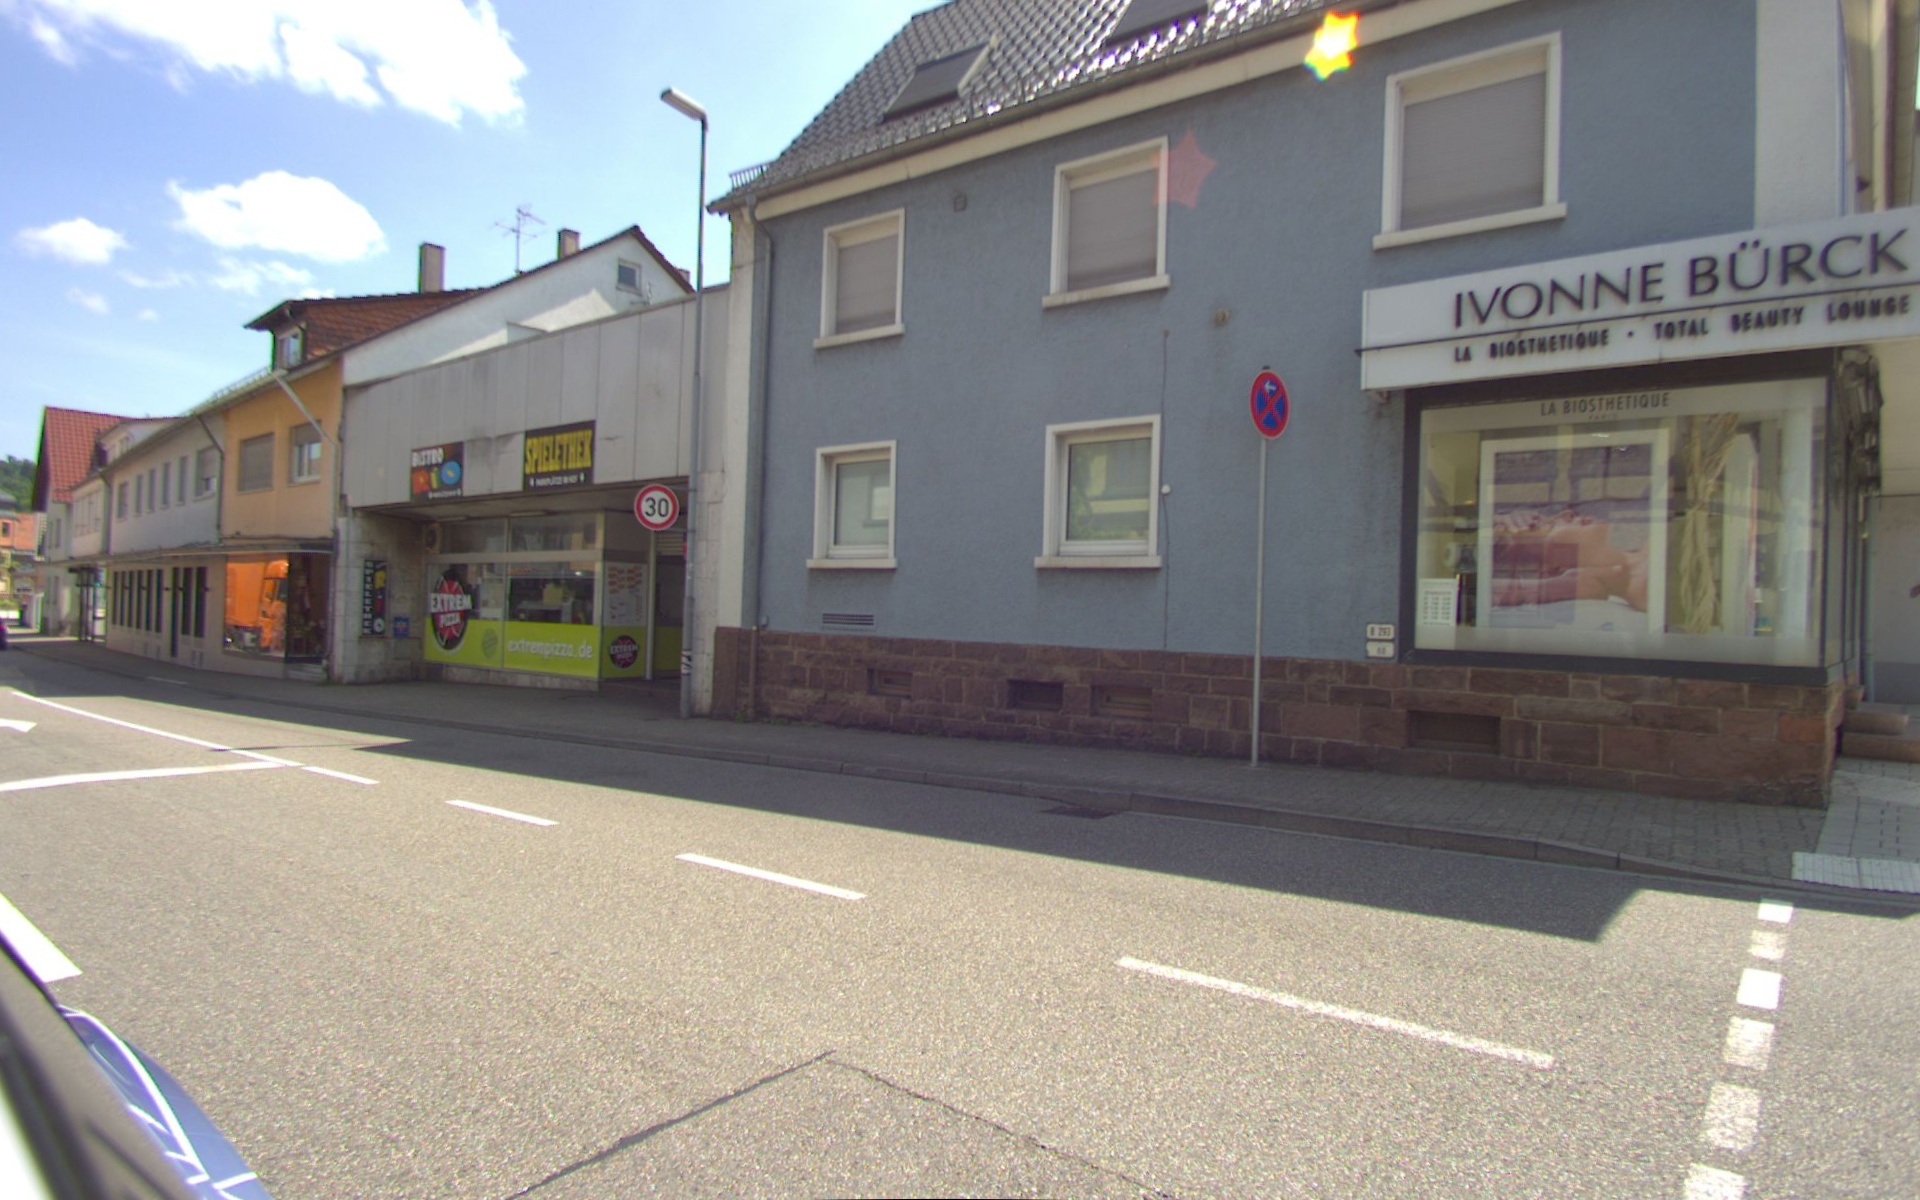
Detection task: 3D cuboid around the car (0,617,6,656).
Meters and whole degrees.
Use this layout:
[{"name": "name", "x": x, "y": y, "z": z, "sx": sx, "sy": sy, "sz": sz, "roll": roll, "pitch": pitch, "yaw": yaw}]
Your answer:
[{"name": "car", "x": -39.541, "y": 1.367, "z": 40.217, "sx": 4.793, "sy": 1.498, "sz": 1.778, "roll": 0, "pitch": -4, "yaw": 40}]

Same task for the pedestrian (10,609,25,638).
[{"name": "pedestrian", "x": -58.084, "y": 1.464, "z": 62.373, "sx": 0.475, "sy": 1.777, "sz": 0.468, "roll": 1, "pitch": -1, "yaw": 19}]
